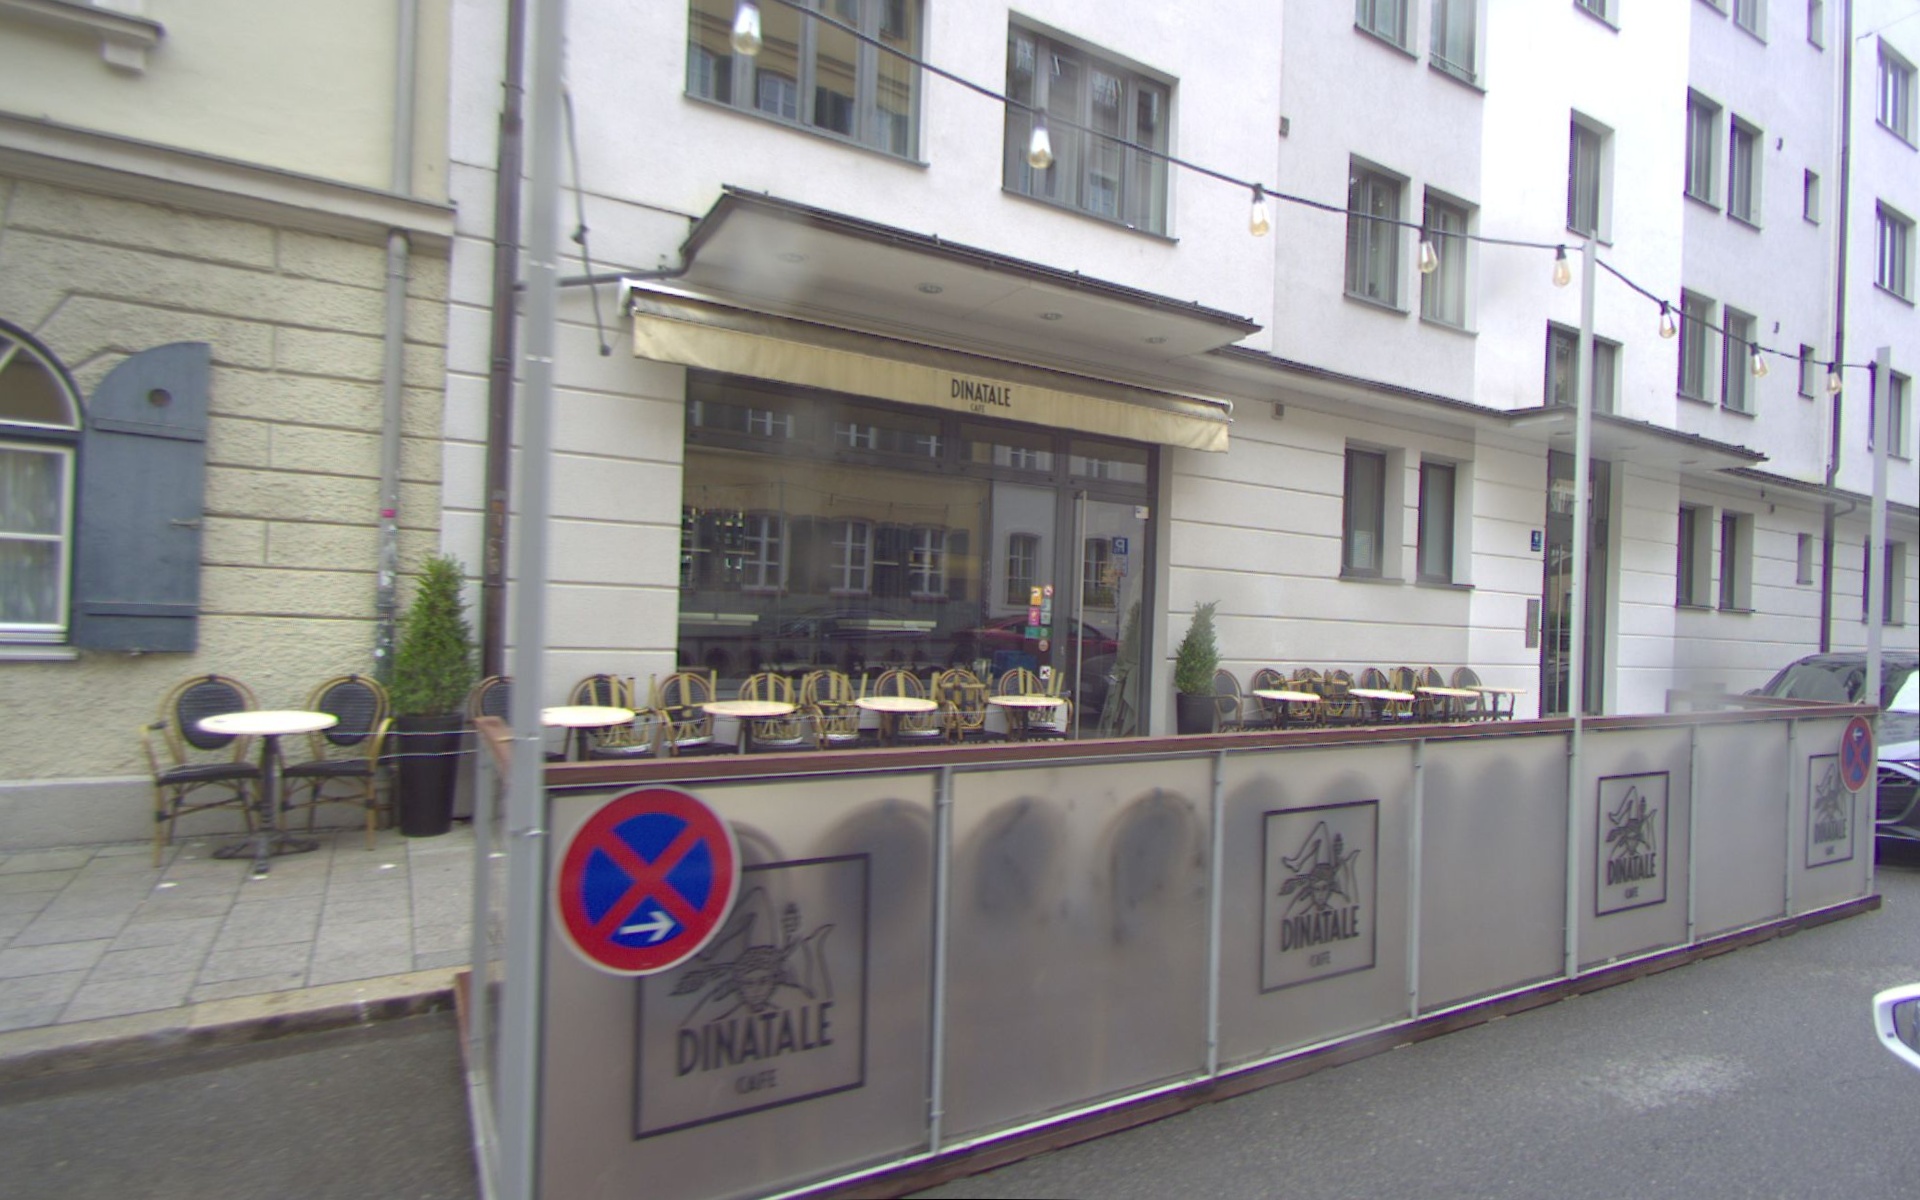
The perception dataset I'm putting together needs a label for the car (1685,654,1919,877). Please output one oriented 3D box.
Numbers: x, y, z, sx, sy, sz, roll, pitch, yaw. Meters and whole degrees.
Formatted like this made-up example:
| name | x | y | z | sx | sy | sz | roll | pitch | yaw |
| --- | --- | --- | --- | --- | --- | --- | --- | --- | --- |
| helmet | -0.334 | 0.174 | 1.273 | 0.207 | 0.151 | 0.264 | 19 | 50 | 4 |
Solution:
| name | x | y | z | sx | sy | sz | roll | pitch | yaw |
| --- | --- | --- | --- | --- | --- | --- | --- | --- | --- |
| car | 7.449 | 1.143 | 7.968 | 4.020 | 1.372 | 1.627 | 2 | -2 | -36 |
